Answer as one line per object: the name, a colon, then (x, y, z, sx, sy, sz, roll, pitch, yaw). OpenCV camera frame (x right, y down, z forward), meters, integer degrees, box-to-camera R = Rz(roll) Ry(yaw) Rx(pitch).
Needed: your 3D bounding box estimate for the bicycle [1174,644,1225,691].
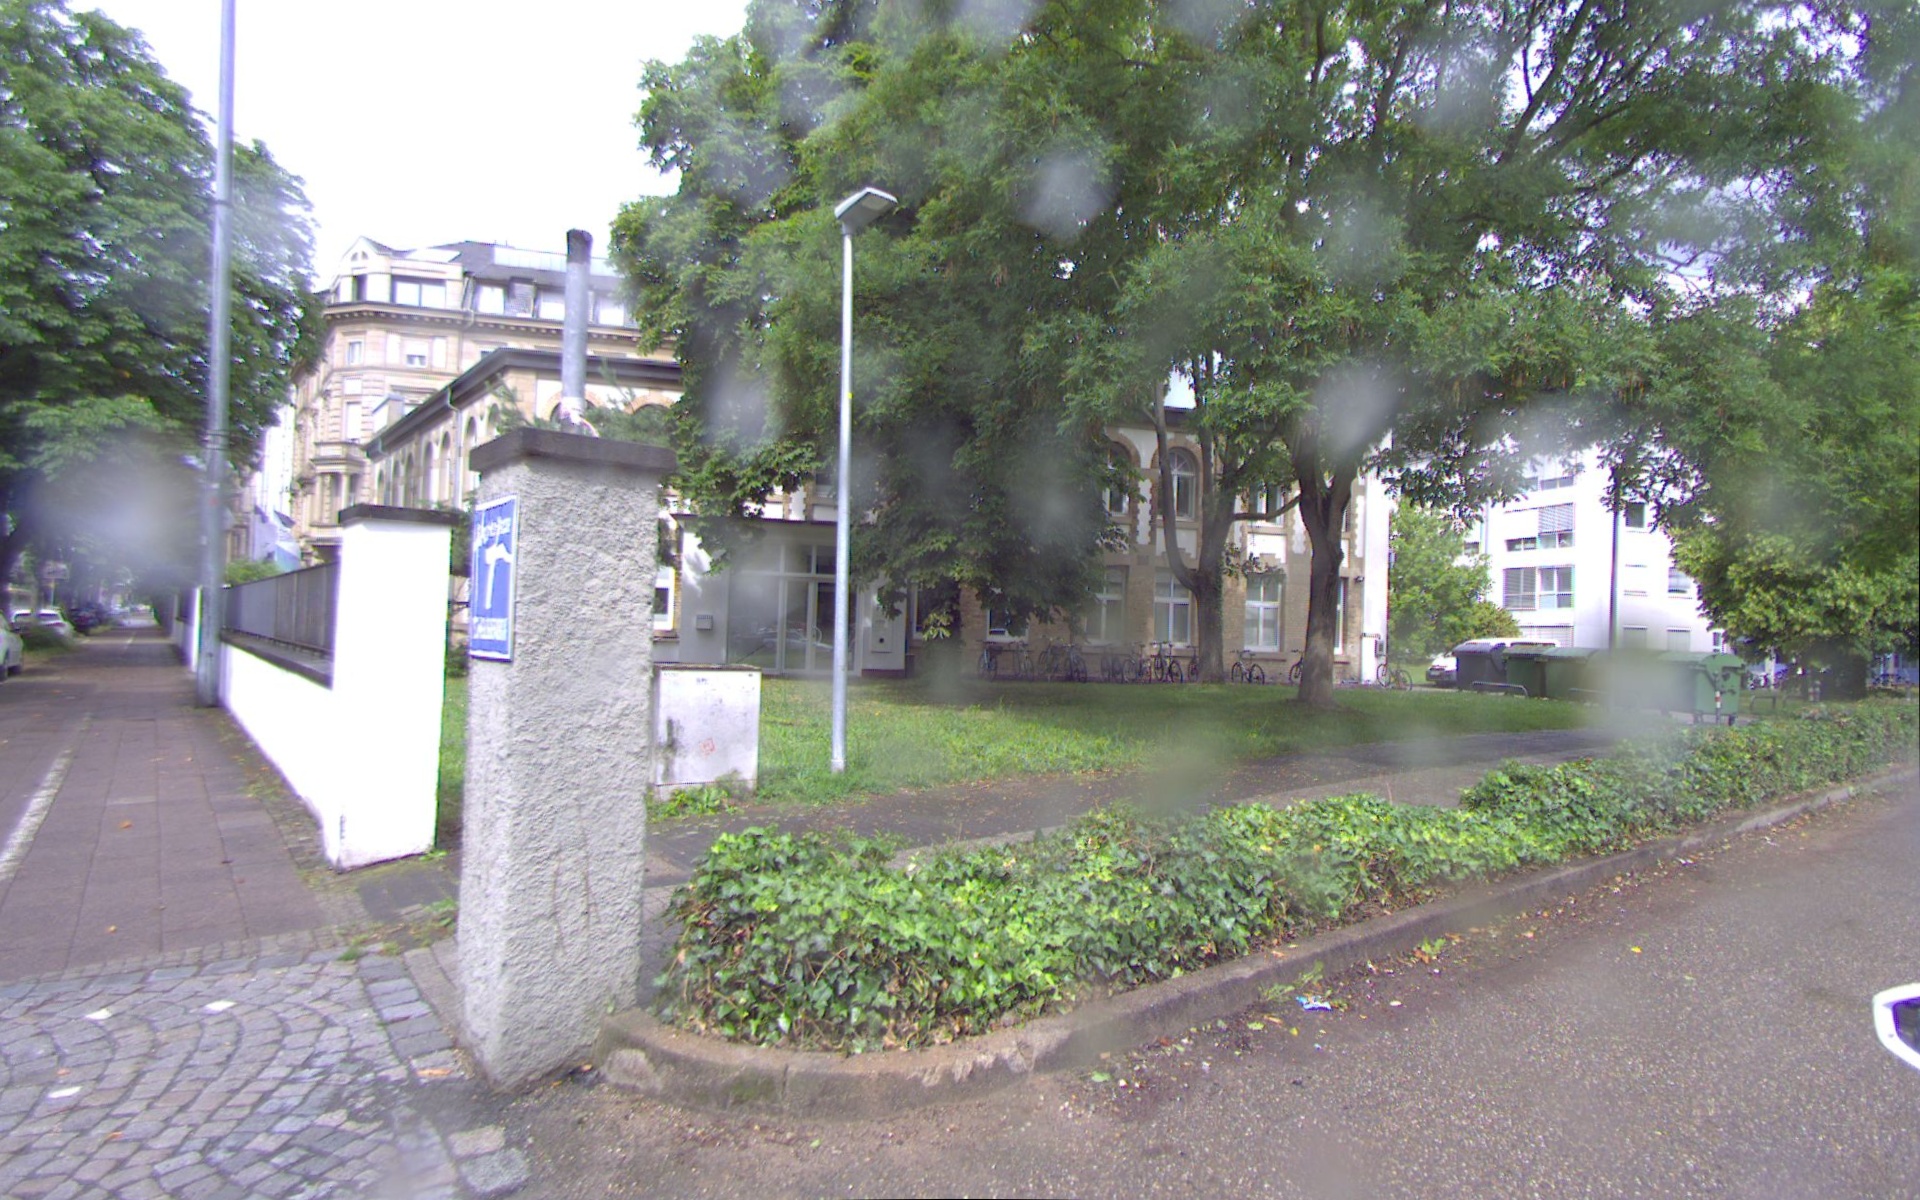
bicycle: (6.620, 1.838, 27.826, 0.606, 1.240, 1.923, 1, -2, -11)

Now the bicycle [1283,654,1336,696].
bicycle: (9.936, 2.124, 28.604, 0.606, 1.130, 1.785, 1, -2, -11)

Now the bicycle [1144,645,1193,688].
bicycle: (5.728, 1.817, 27.637, 0.606, 1.130, 1.923, 1, -2, -11)

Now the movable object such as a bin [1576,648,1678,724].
movable object such as a bin: (14.586, 1.859, 21.998, 1.150, 1.503, 1.397, 3, 0, -18)

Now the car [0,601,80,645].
car: (-34.165, 0.829, 37.360, 1.778, 1.517, 3.988, 2, 0, -36)

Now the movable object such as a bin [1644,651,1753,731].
movable object such as a bin: (15.052, 1.831, 20.526, 1.083, 1.492, 1.485, 3, -2, -2)

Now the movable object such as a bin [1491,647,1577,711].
movable object such as a bin: (14.196, 1.926, 24.888, 1.149, 1.502, 1.492, 1, -2, -17)

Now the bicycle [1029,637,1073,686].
bicycle: (2.398, 1.606, 26.790, 0.606, 1.192, 1.922, 2, -1, -11)

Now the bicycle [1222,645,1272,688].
bicycle: (8.030, 1.851, 28.171, 0.606, 1.130, 1.785, 1, -2, -11)

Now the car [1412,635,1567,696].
car: (19.575, 2.427, 37.214, 4.802, 1.950, 2.096, 3, -3, -10)

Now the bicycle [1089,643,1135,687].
bicycle: (4.106, 1.750, 27.290, 0.606, 1.130, 1.923, 1, -2, -11)

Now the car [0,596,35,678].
car: (-20.149, 0.713, 20.211, 1.897, 1.571, 3.335, 2, -2, -37)

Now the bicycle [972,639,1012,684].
bicycle: (0.817, 1.596, 26.289, 0.606, 1.130, 1.923, 1, -2, -11)

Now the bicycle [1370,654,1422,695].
bicycle: (12.614, 2.149, 29.093, 0.606, 1.130, 1.517, 1, -2, -12)

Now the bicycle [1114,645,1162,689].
bicycle: (4.821, 1.798, 27.363, 0.606, 1.130, 1.923, 1, -2, -11)

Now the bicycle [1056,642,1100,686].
bicycle: (3.156, 1.693, 27.013, 0.606, 1.130, 1.923, 1, -2, -11)

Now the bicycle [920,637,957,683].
bicycle: (-0.563, 1.539, 25.974, 0.606, 1.130, 1.923, 1, -2, -11)

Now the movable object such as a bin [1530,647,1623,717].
movable object such as a bin: (14.343, 1.883, 23.405, 1.149, 1.502, 1.398, 3, -1, -16)

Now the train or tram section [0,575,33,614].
train or tram section: (-98.282, -0.626, 103.814, 2.998, 3.924, 9.464, 2, 0, -39)

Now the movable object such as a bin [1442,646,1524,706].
movable object such as a bin: (13.713, 1.966, 26.378, 1.149, 1.502, 1.589, 1, -2, -17)

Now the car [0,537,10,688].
car: (-16.242, 0.192, 15.306, 2.122, 2.543, 5.214, 1, -1, -39)

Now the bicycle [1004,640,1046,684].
bicycle: (1.710, 1.633, 26.709, 0.606, 1.130, 1.923, 1, -2, -11)
